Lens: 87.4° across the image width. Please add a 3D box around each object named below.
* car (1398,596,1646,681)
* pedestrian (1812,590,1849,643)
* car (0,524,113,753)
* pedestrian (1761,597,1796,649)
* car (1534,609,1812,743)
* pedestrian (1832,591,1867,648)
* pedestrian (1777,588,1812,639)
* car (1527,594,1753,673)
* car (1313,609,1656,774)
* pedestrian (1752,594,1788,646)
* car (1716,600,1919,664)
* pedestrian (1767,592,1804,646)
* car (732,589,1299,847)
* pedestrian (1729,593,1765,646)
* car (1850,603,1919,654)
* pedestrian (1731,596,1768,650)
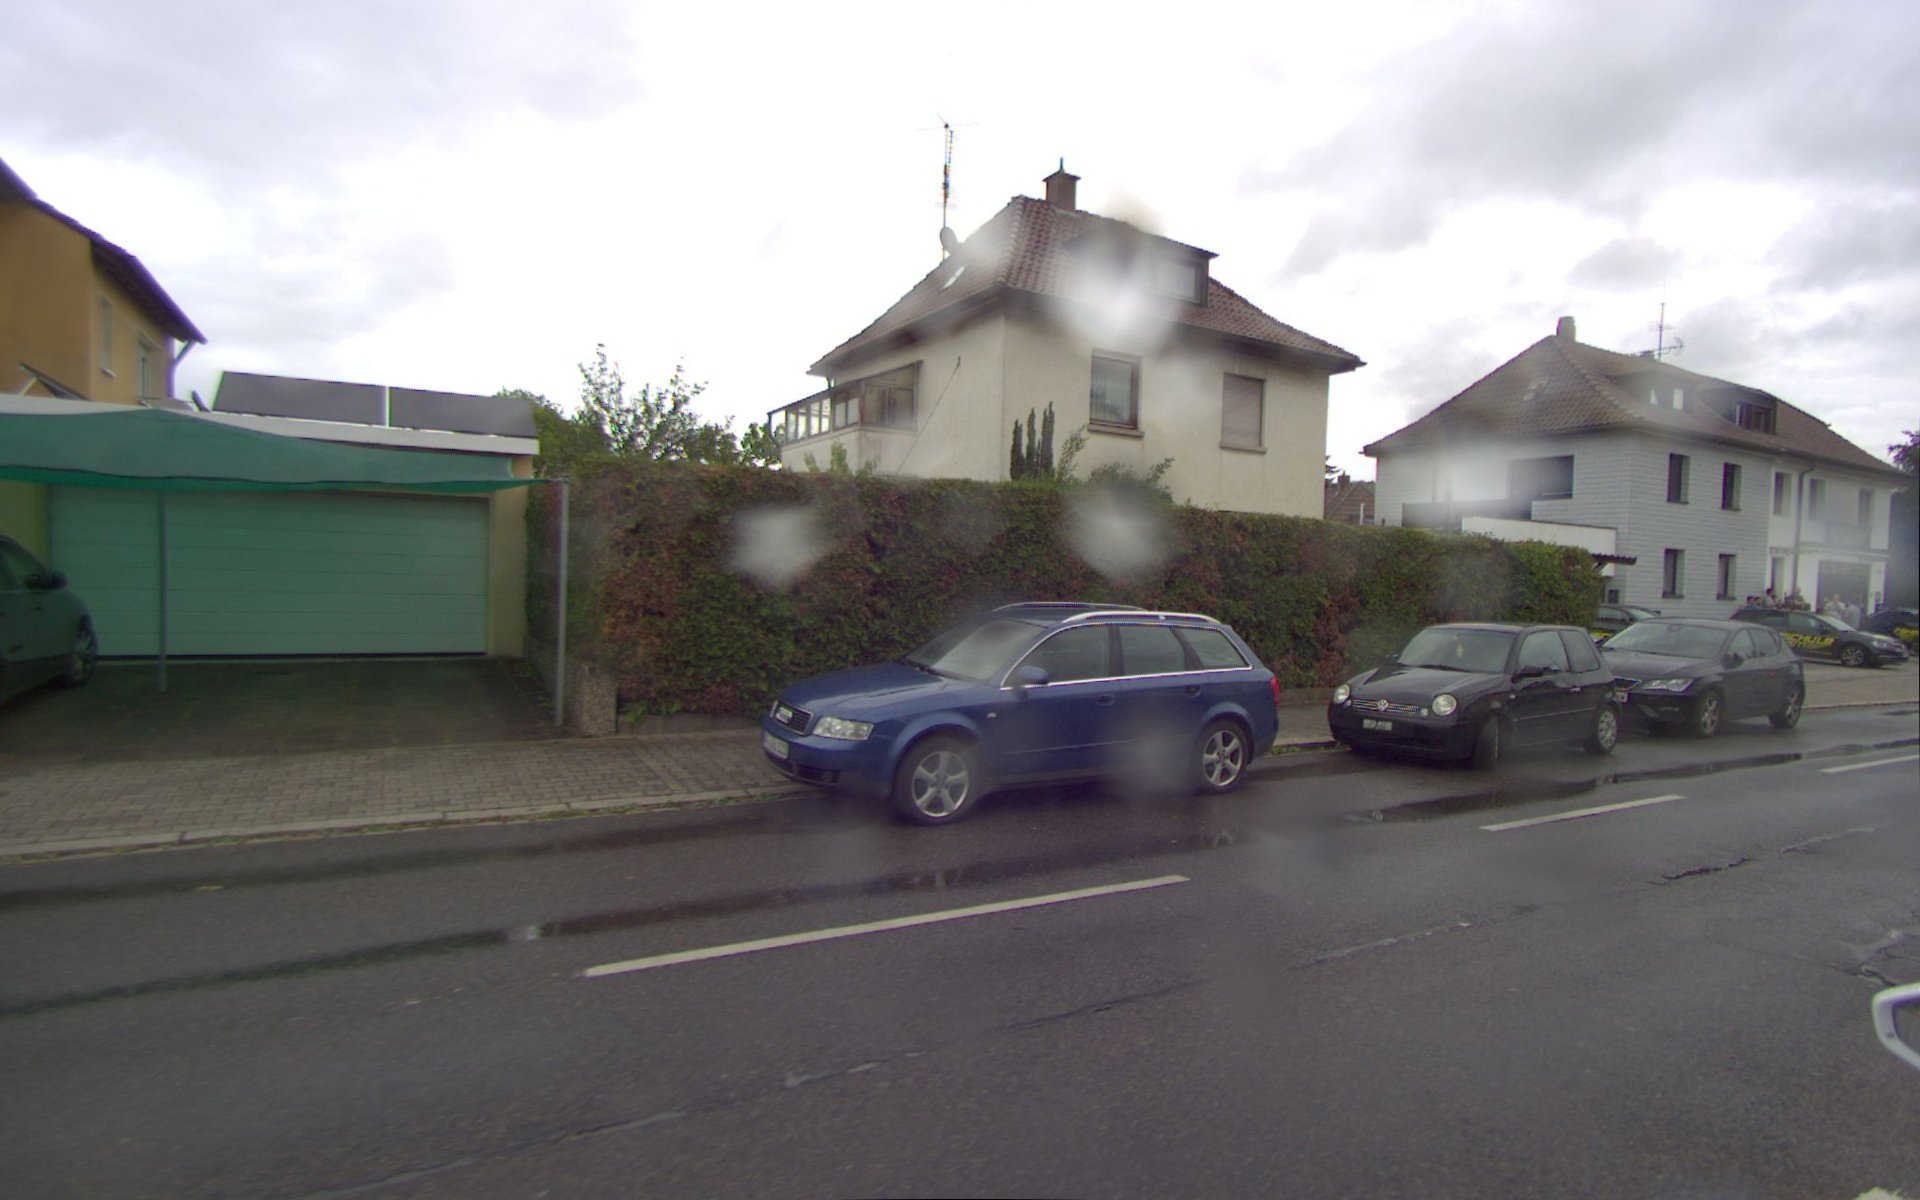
[{"bbox_3d":[11.193,0.804,20.255,1.837,1.536,3.963,1,-3,-34],"label":"car"},{"bbox_3d":[29.101,0.548,33.571,0.640,1.688,0.599,1,4,-22],"label":"pedestrian"},{"bbox_3d":[-8.537,0.213,8.065,1.895,1.635,3.941,1,4,-29],"label":"car"},{"bbox_3d":[27.830,0.784,34.154,0.641,1.688,0.598,1,4,-25],"label":"pedestrian"},{"bbox_3d":[9.921,0.955,13.896,4.165,1.553,1.746,1,1,-34],"label":"car"},{"bbox_3d":[28.766,0.625,32.483,0.643,1.815,0.596,0,4,-35],"label":"pedestrian"},{"bbox_3d":[28.731,0.460,34.576,0.641,1.688,0.598,1,4,-25],"label":"pedestrian"},{"bbox_3d":[15.855,0.732,23.629,1.834,1.536,3.968,1,2,-30],"label":"car"},{"bbox_3d":[5.747,0.883,10.863,3.972,1.450,1.541,1,1,-34],"label":"car"},{"bbox_3d":[27.139,0.667,33.651,0.641,1.688,0.598,1,4,-25],"label":"pedestrian"},{"bbox_3d":[24.497,0.862,28.819,1.834,1.536,4.053,1,2,-30],"label":"car"},{"bbox_3d":[26.619,0.603,32.391,0.641,1.688,0.598,1,4,-25],"label":"pedestrian"},{"bbox_3d":[0.534,0.759,7.982,4.237,1.553,1.748,1,1,-31],"label":"car"},{"bbox_3d":[25.731,0.630,32.840,0.641,1.688,0.598,1,4,-25],"label":"pedestrian"},{"bbox_3d":[32.986,1.064,33.818,1.834,1.536,4.053,1,4,-30],"label":"car"},{"bbox_3d":[25.264,0.733,32.147,0.641,1.688,0.598,1,4,-25],"label":"pedestrian"}]
